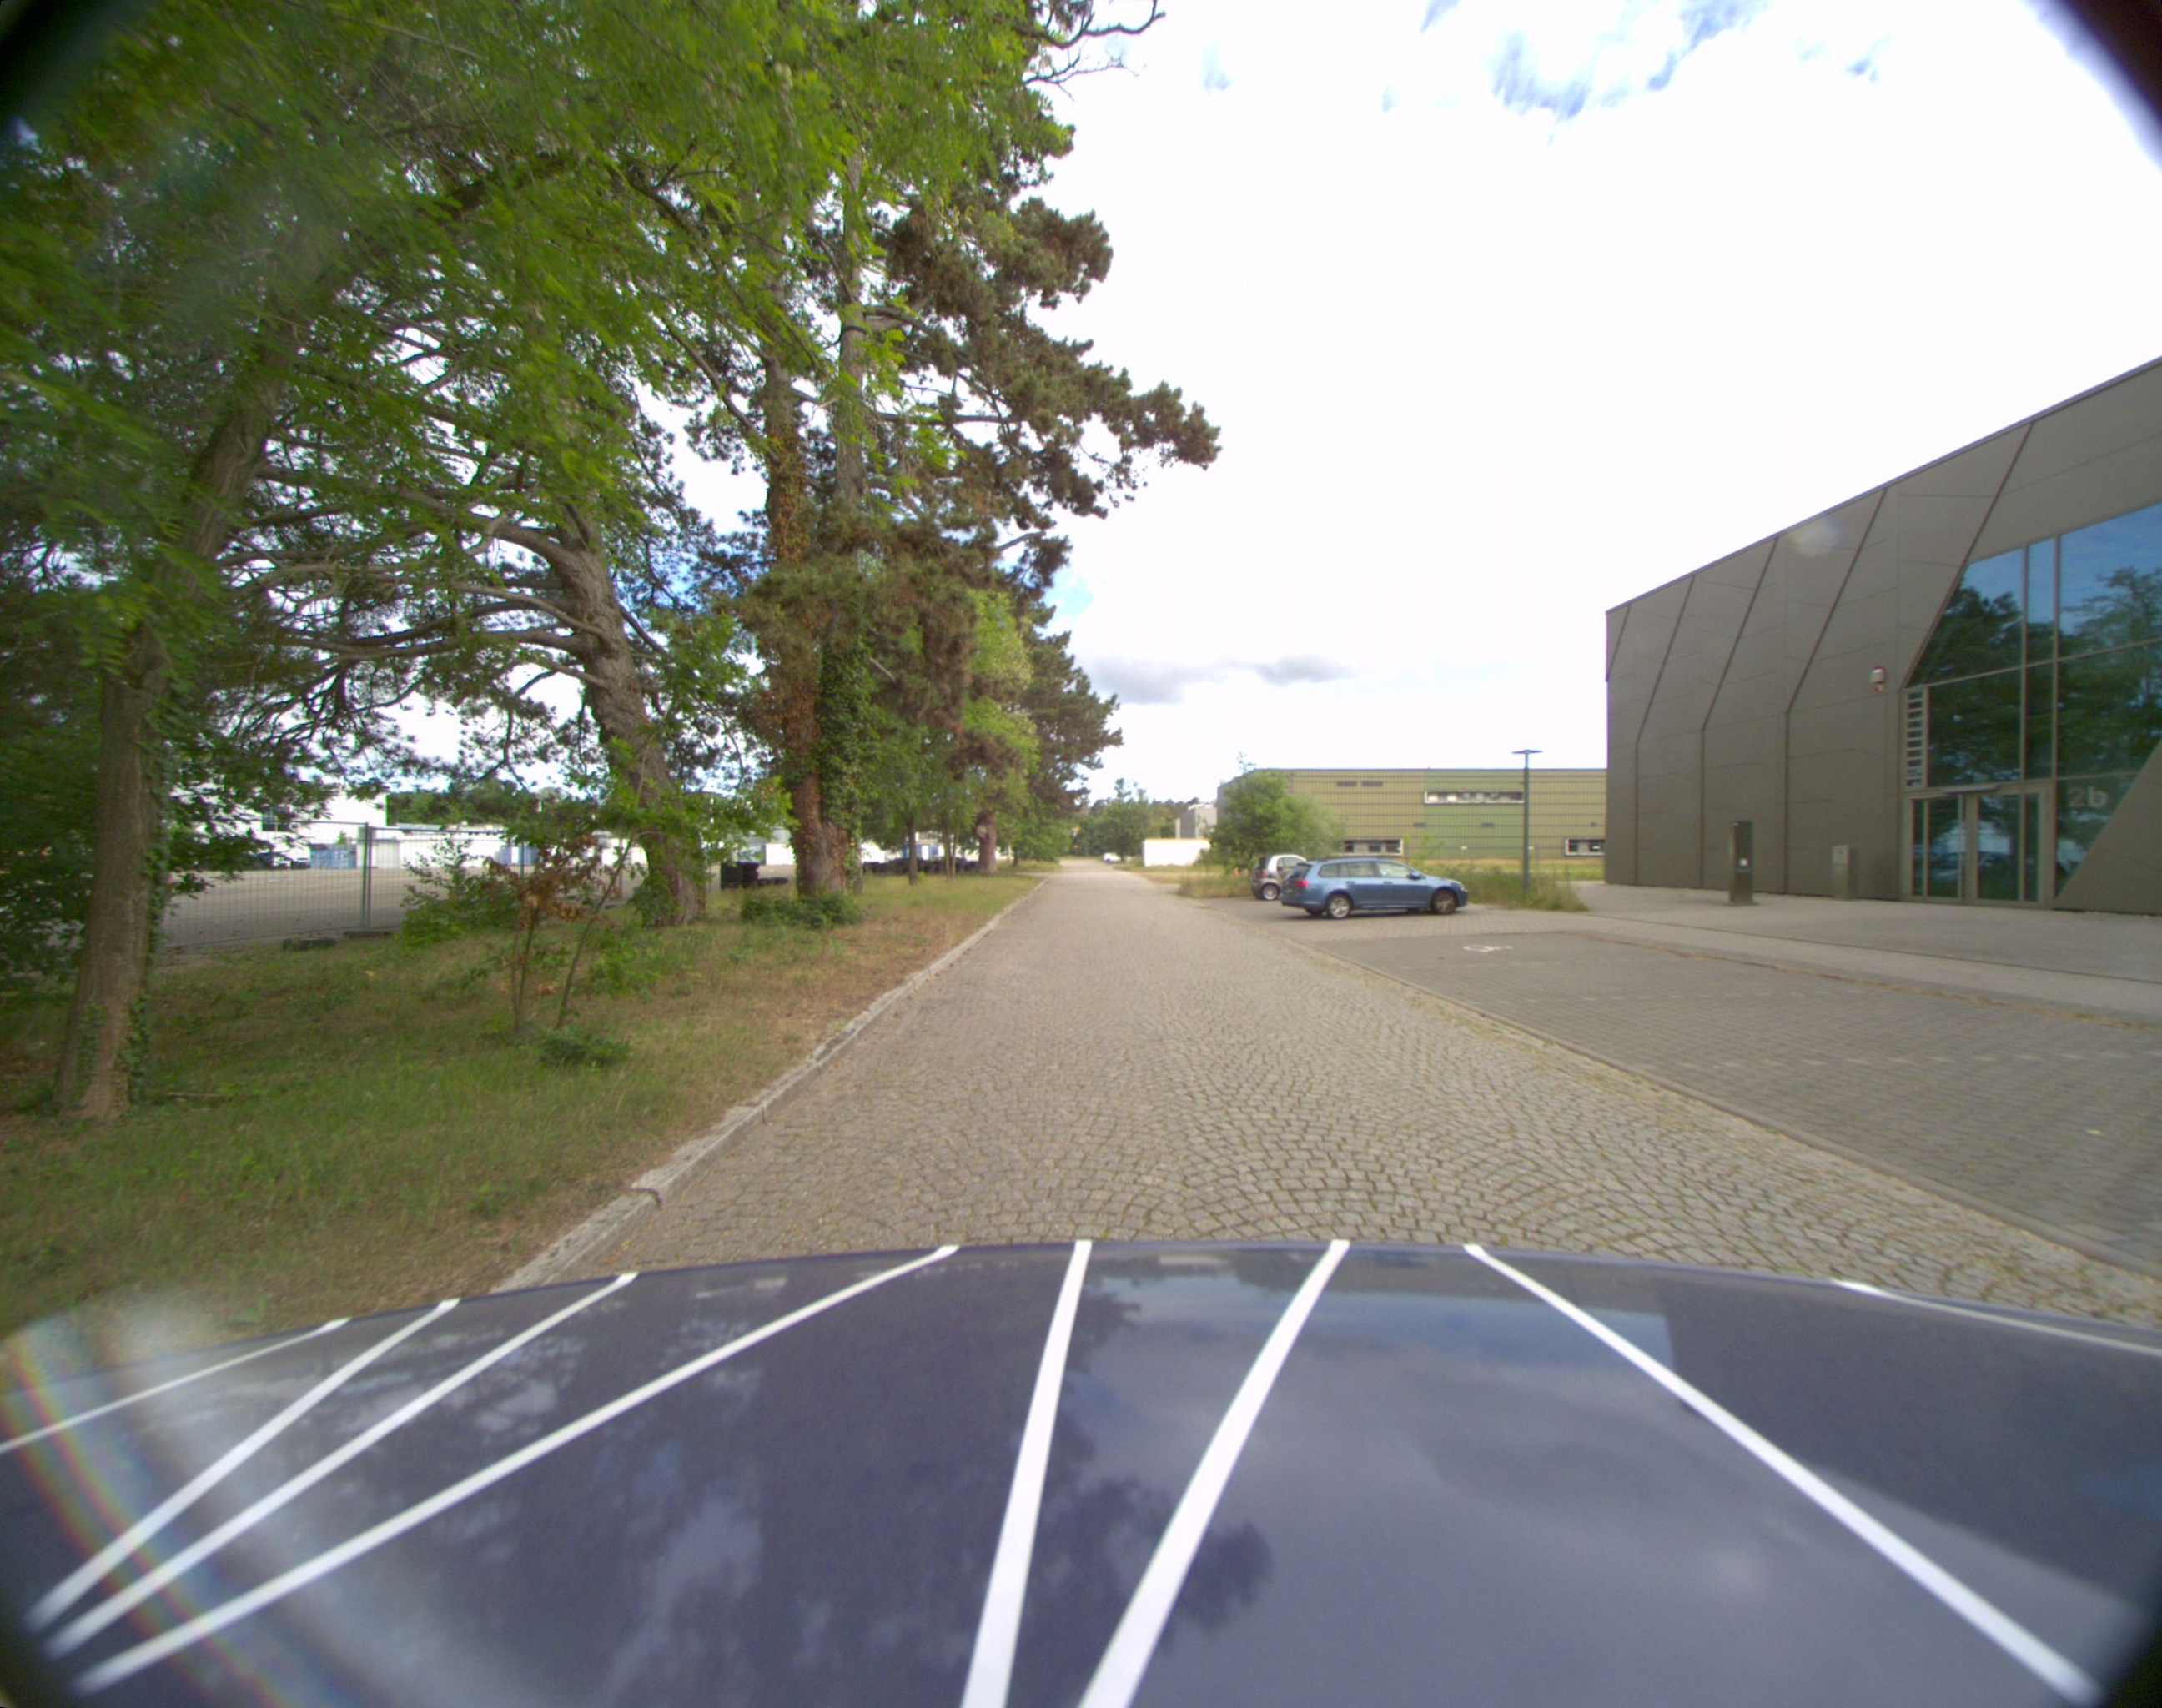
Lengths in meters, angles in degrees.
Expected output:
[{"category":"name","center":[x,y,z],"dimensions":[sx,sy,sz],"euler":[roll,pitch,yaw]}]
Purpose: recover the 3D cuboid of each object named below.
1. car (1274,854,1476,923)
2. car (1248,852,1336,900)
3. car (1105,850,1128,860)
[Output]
[{"category":"car","center":[7.286,0.821,19.095],"dimensions":[4.427,1.461,1.633],"euler":[-2,1,-2]},{"category":"car","center":[7.293,0.735,26.463],"dimensions":[2.584,1.521,1.500],"euler":[-2,1,-2]},{"category":"car","center":[6.503,0.130,138.887],"dimensions":[4.062,1.768,1.792],"euler":[-1,1,-1]}]
